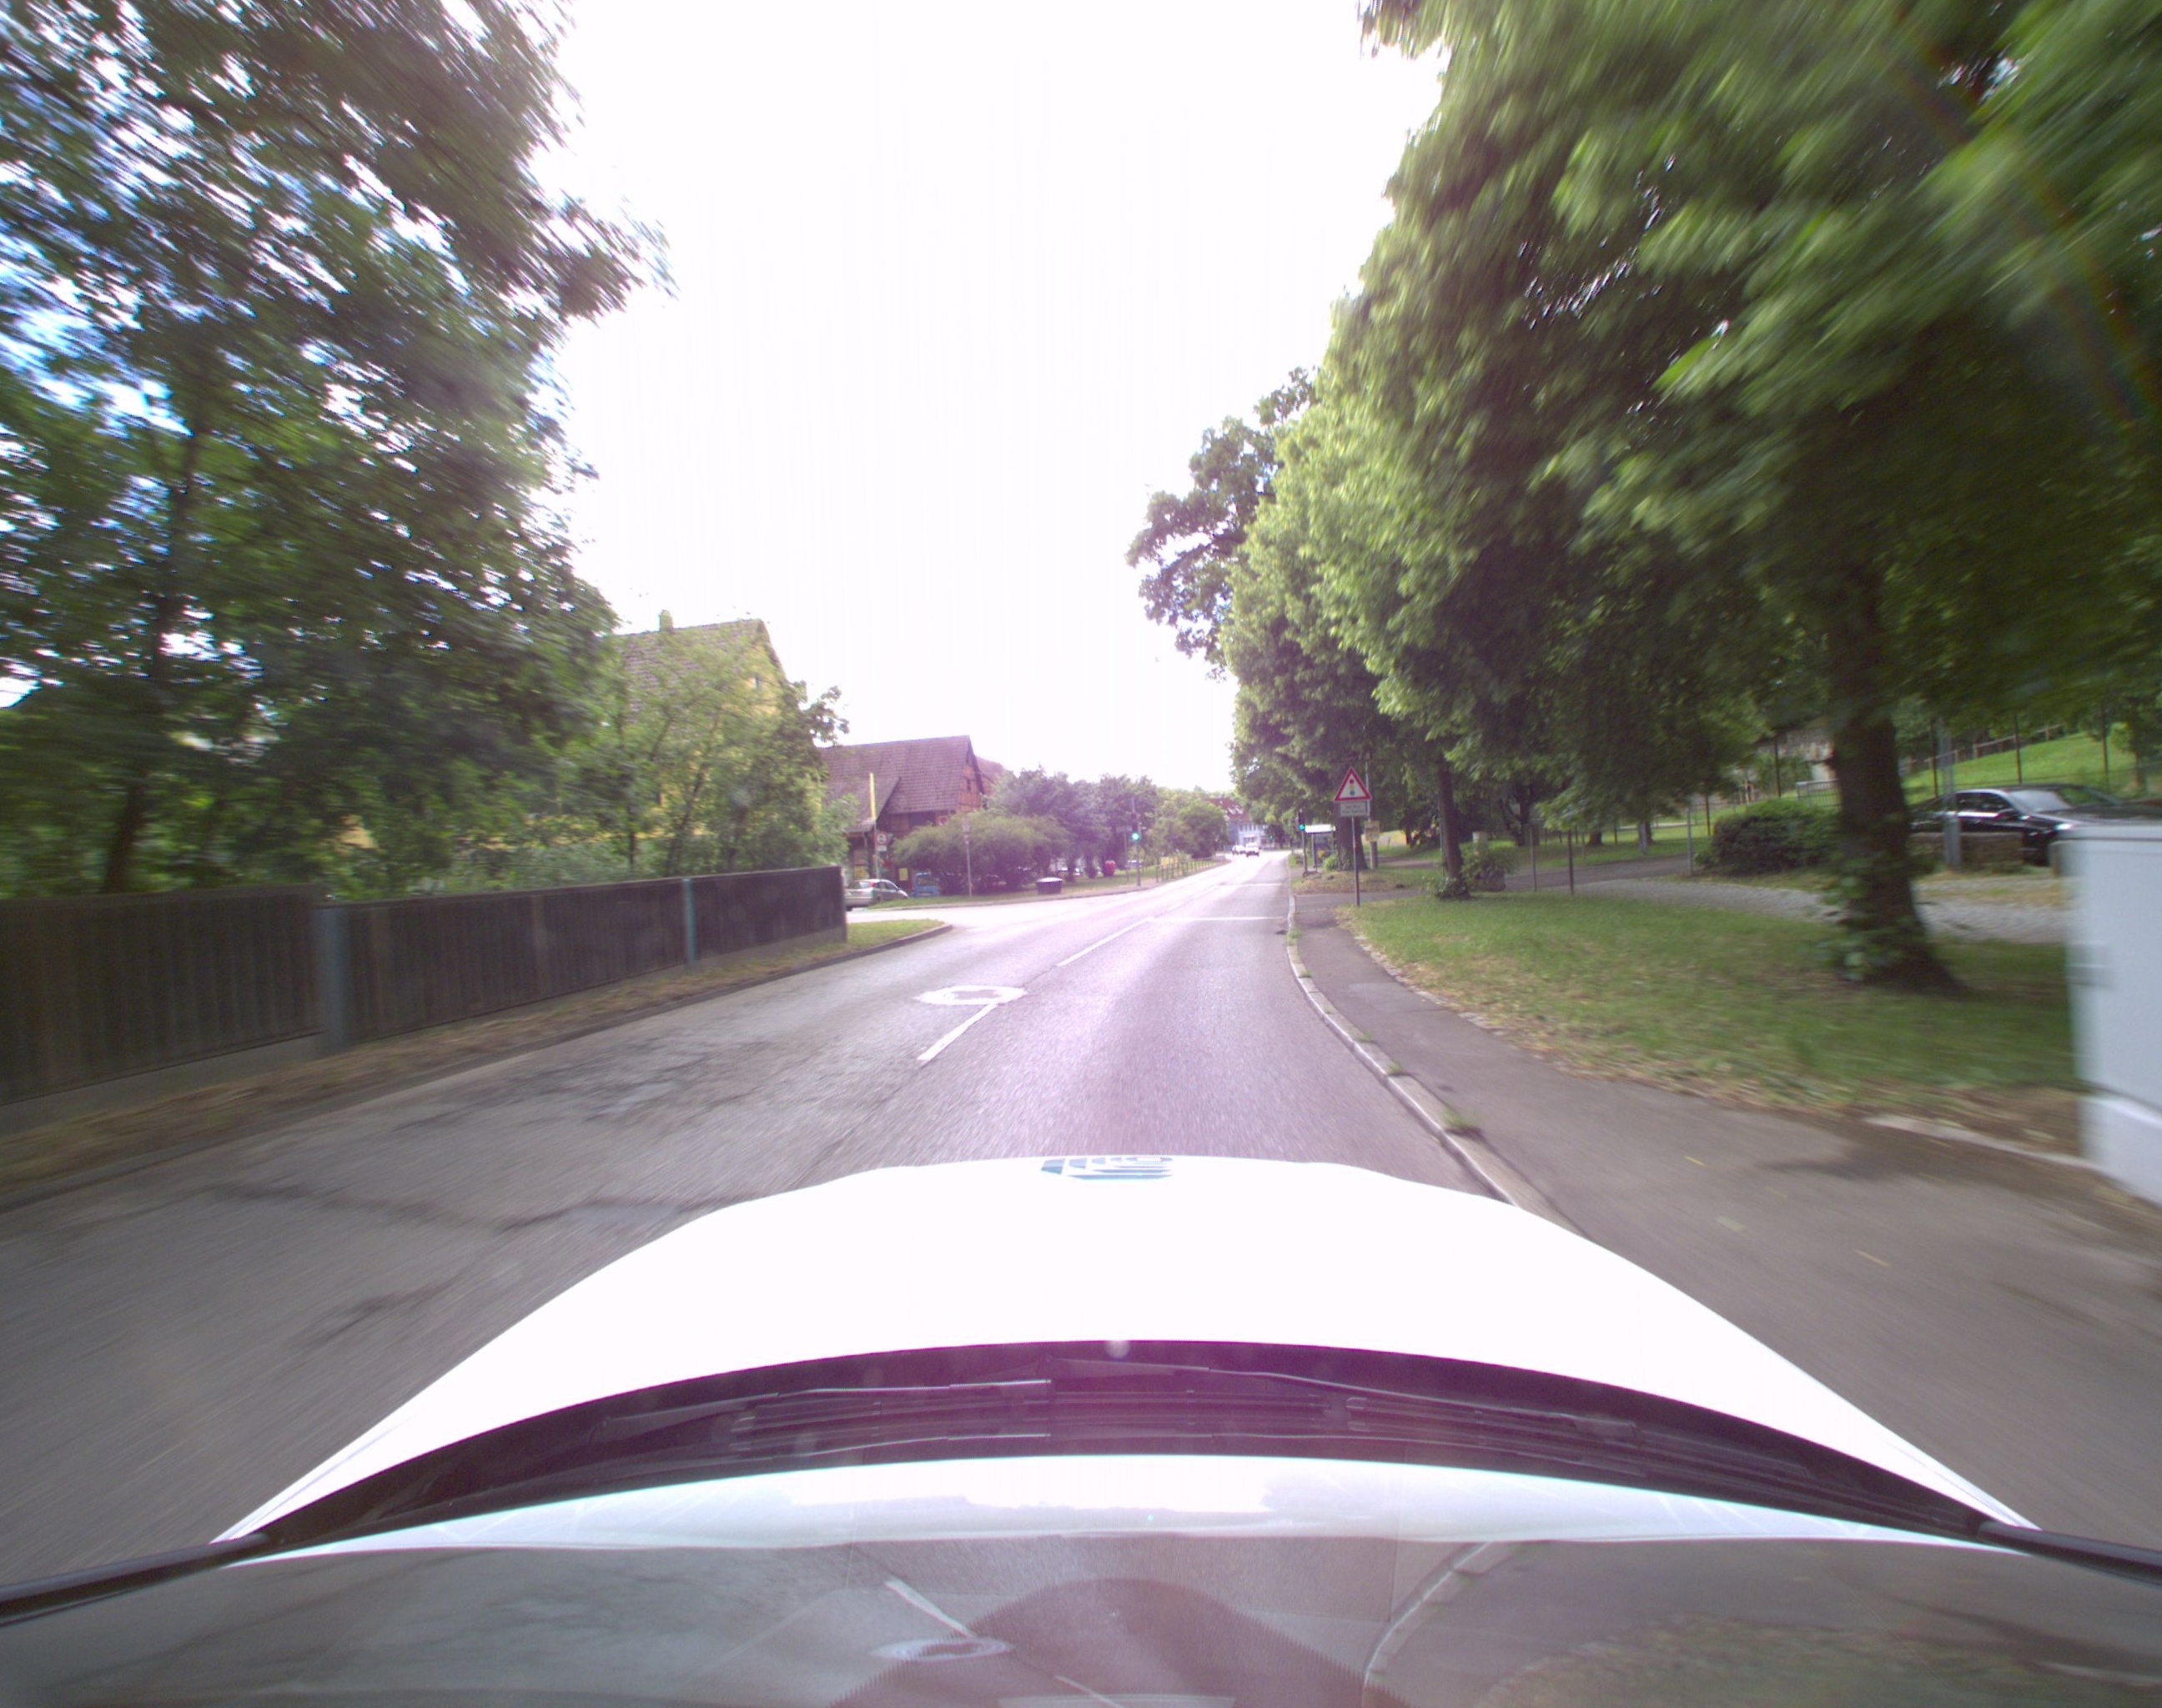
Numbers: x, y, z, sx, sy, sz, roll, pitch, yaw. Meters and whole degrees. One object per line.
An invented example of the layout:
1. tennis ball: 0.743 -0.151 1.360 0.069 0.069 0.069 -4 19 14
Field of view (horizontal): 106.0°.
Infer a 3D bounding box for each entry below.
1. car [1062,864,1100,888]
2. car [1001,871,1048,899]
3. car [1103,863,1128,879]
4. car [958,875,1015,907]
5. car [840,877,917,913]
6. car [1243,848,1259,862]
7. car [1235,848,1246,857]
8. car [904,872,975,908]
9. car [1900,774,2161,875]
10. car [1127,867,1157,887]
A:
1. car: 0.049 1.727 65.439 1.797 1.618 4.018 -5 -1 17
2. car: -3.867 2.092 56.181 1.797 1.618 4.018 -5 -1 17
3. car: 3.274 1.577 76.161 1.539 1.278 2.567 -5 -1 20
4. car: -5.817 2.280 50.536 1.933 1.618 4.018 -5 -1 17
5. car: -9.458 1.884 38.398 1.633 1.344 4.168 -5 -1 14
6. car: 24.542 0.102 117.470 1.832 1.931 4.788 -3 -1 14
7. car: 28.864 -0.233 147.285 1.692 1.511 4.016 -5 -1 15
8. car: -7.786 1.952 45.263 1.978 1.618 4.467 -5 -1 16
9. car: 17.427 -0.575 14.469 1.893 1.430 4.483 -5 1 13
10. car: 6.370 2.352 84.225 1.905 1.695 4.020 -5 -1 20
